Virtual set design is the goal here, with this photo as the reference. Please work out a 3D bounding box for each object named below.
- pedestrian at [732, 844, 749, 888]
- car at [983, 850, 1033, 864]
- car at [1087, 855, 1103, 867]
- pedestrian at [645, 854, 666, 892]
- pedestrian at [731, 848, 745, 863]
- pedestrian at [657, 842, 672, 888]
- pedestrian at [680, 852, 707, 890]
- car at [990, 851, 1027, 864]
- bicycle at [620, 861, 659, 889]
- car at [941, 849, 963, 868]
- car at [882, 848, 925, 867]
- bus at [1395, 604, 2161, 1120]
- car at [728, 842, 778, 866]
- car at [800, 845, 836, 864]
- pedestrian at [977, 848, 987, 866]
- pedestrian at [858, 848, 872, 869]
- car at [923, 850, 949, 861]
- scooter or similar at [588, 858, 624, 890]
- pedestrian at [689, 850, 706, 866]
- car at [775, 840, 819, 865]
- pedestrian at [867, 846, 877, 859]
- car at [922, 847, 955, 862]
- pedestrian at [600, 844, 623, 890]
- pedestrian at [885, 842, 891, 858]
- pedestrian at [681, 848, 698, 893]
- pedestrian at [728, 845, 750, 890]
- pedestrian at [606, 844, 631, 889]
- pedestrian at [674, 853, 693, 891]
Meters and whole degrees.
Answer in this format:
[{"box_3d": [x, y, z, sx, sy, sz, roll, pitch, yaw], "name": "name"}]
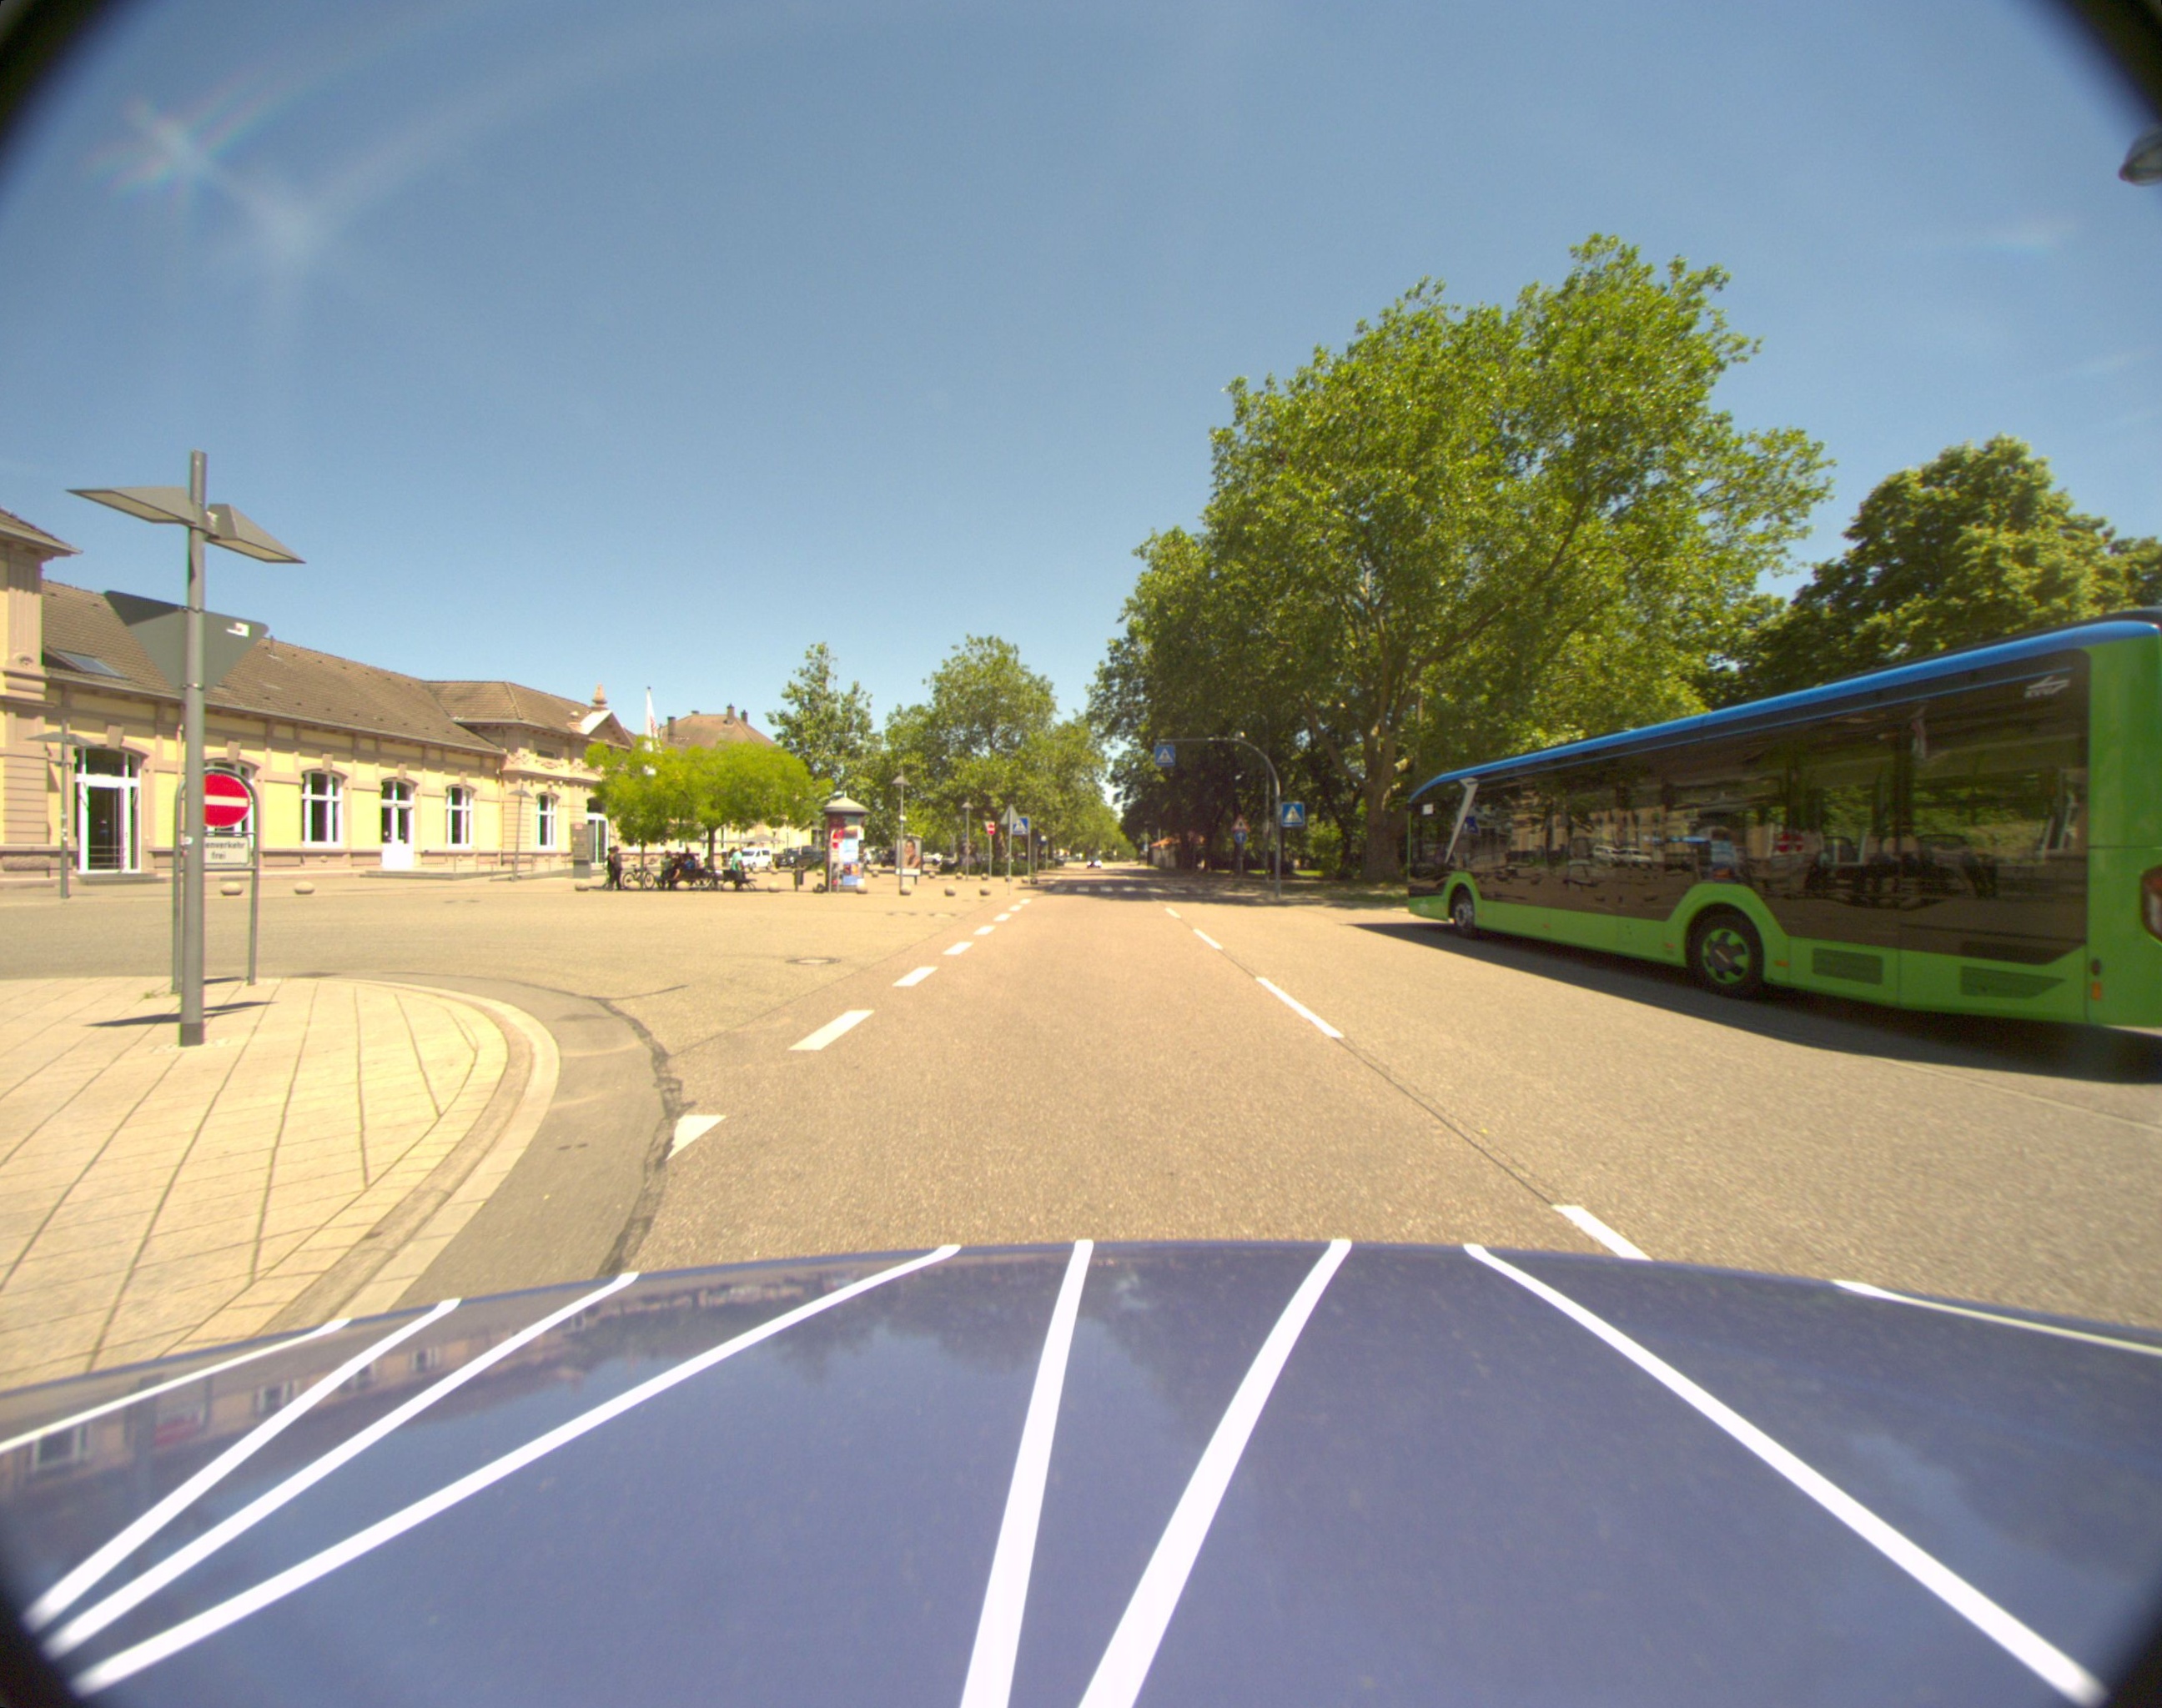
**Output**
[{"box_3d": [-13.737, 0.474, 30.666, 0.628, 1.730, 0.547, 0, 1, -24], "name": "pedestrian"}, {"box_3d": [-7.414, 0.312, 77.411, 4.782, 1.409, 1.783, 0, 1, -18], "name": "car"}, {"box_3d": [1.750, 0.828, 95.023, 1.661, 1.368, 3.450, -2, 0, -4], "name": "car"}, {"box_3d": [-15.305, 0.682, 27.337, 0.600, 1.356, 0.598, 0, 0, -27], "name": "pedestrian"}, {"box_3d": [-30.731, 0.131, 68.024, 0.881, 1.363, 0.851, 2, 1, -3], "name": "pedestrian"}, {"box_3d": [-15.846, 0.423, 28.909, 0.513, 1.730, 0.569, 0, 1, -28], "name": "pedestrian"}, {"box_3d": [-14.728, 0.632, 28.879, 0.914, 1.378, 0.942, 0, 1, -28], "name": "pedestrian"}, {"box_3d": [-8.405, 0.380, 87.733, 3.882, 1.452, 1.632, 0, 1, -27], "name": "car"}, {"box_3d": [-17.507, 0.812, 30.151, 0.421, 1.054, 1.948, 1, 1, -1], "name": "bicycle"}, {"box_3d": [-11.333, 0.362, 66.727, 1.601, 1.584, 3.104, 0, 1, -5], "name": "car"}, {"box_3d": [-16.603, 0.315, 70.996, 4.515, 1.534, 1.804, 3, 3, 45], "name": "car"}, {"box_3d": [8.368, 0.042, 10.870, 2.815, 3.264, 12.425, 0, 0, 1], "name": "bus"}, {"box_3d": [-25.796, 0.028, 60.019, 1.814, 1.855, 5.138, 0, 0, -1], "name": "car"}, {"box_3d": [-25.627, 0.046, 74.221, 2.080, 1.829, 4.839, 0, 0, -4], "name": "car"}, {"box_3d": [-9.851, 0.267, 75.638, 0.839, 1.760, 0.850, 0, 1, -19], "name": "pedestrian"}, {"box_3d": [-17.166, 0.362, 60.442, 0.812, 1.707, 0.775, 1, 1, 44], "name": "pedestrian"}, {"box_3d": [-20.195, 0.217, 105.598, 3.502, 1.395, 1.808, 1, 0, 42], "name": "car"}, {"box_3d": [-16.828, 0.709, 26.931, 1.028, 1.132, 0.294, 0, 1, -6], "name": "scooter or similar"}, {"box_3d": [-29.744, 0.306, 58.914, 0.881, 1.155, 0.851, 2, 1, -3], "name": "pedestrian"}, {"box_3d": [-25.181, -0.100, 67.587, 2.093, 2.111, 5.824, 0, 0, -4], "name": "car"}, {"box_3d": [-22.017, -0.180, 80.016, 0.689, 1.416, 0.803, 1, 1, 37], "name": "pedestrian"}, {"box_3d": [-16.476, 0.017, 87.615, 1.804, 1.596, 4.050, -2, 3, -44], "name": "car"}, {"box_3d": [-17.222, 0.483, 27.866, 0.555, 1.675, 0.587, 0, 1, -11], "name": "pedestrian"}, {"box_3d": [-24.920, -0.546, 98.213, 0.628, 1.978, 0.617, -1, 1, -4], "name": "pedestrian"}, {"box_3d": [-15.299, 0.631, 29.693, 0.586, 1.730, 0.598, 0, 1, -24], "name": "pedestrian"}, {"box_3d": [-13.380, 0.531, 29.729, 0.694, 1.753, 0.584, 0, 1, -13], "name": "pedestrian"}, {"box_3d": [-17.351, 0.460, 28.512, 0.619, 1.675, 0.590, 0, 1, -11], "name": "pedestrian"}, {"box_3d": [-14.464, 0.651, 27.684, 0.600, 1.356, 0.598, 0, 0, -27], "name": "pedestrian"}]
